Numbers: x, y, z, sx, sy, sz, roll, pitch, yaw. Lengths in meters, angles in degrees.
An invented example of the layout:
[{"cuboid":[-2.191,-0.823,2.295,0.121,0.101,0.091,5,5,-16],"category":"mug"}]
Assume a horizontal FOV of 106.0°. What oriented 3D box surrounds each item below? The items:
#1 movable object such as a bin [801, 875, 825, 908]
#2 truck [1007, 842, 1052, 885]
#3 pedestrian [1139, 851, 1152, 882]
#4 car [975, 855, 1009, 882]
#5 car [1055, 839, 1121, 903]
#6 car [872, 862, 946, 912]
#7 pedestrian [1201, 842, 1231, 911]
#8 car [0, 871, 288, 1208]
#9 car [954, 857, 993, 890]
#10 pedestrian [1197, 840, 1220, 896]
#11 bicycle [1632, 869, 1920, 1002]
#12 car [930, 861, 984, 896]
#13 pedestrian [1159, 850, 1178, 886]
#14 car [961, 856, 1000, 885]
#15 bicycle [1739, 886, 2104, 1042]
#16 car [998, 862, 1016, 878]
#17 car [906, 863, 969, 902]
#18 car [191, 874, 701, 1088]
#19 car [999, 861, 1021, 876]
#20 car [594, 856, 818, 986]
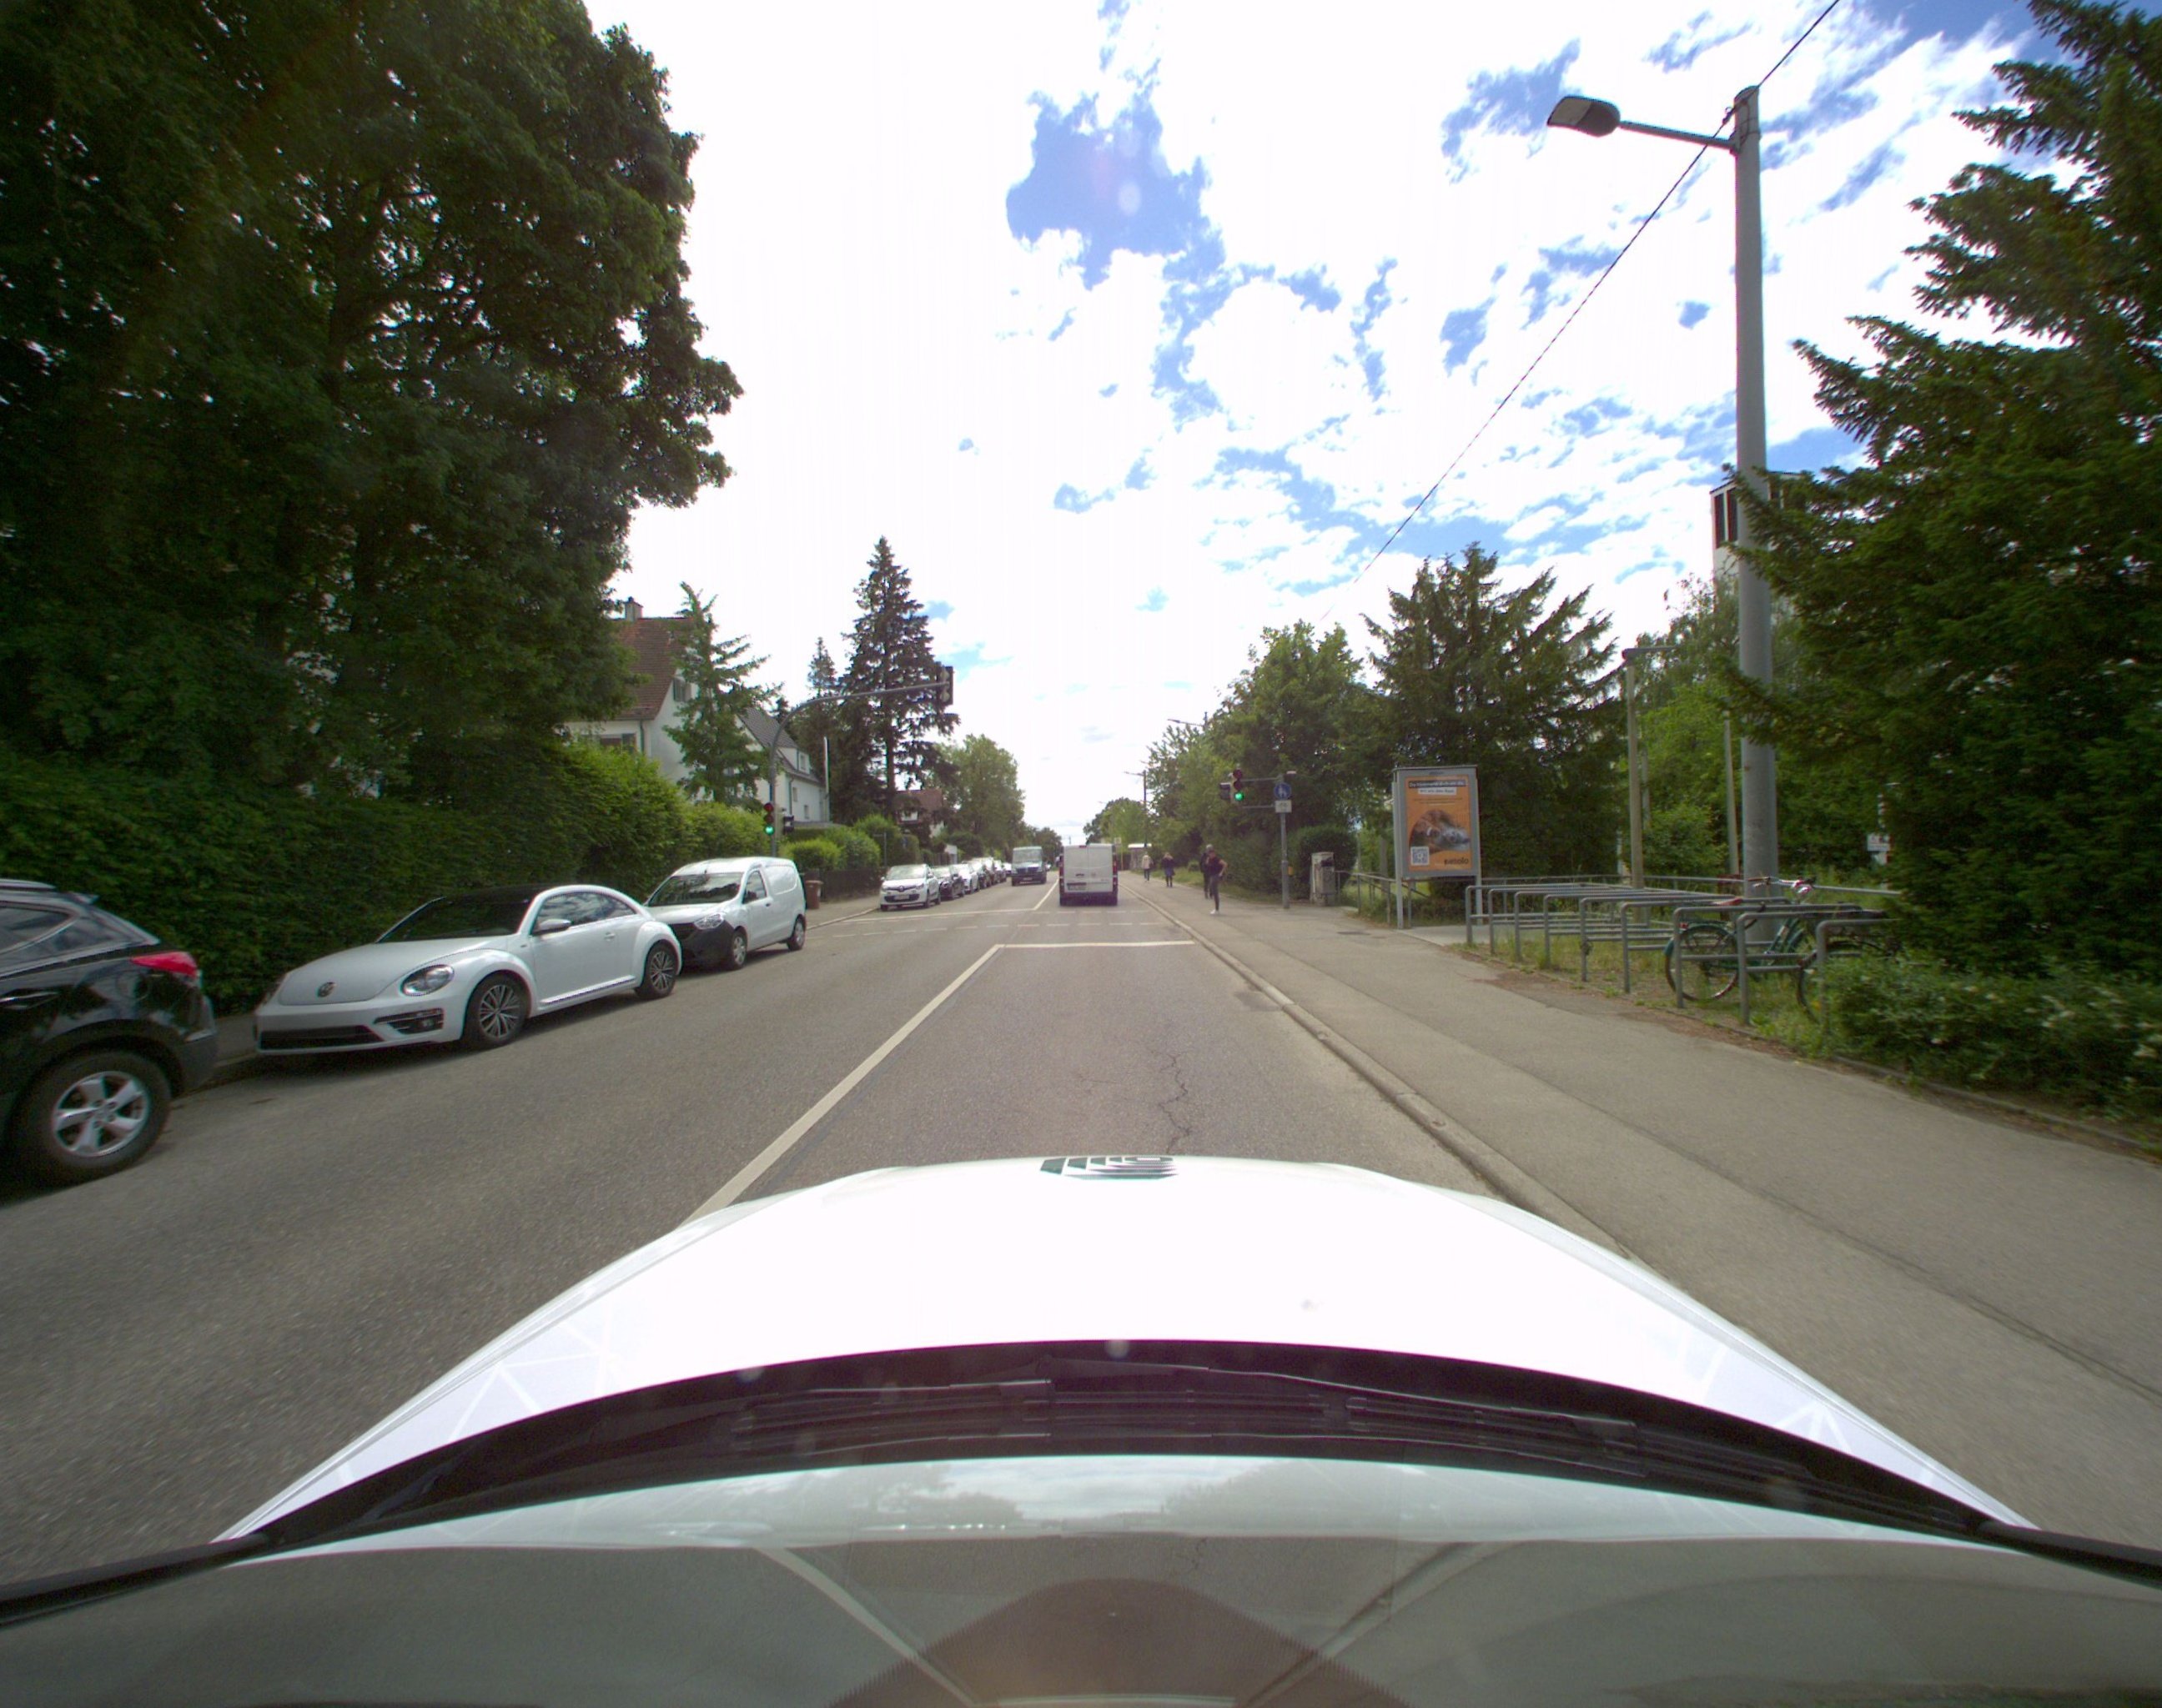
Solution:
[{"cuboid":[-8.975,1.247,27.307,0.514,1.080,0.749,1,0,0],"category":"movable object such as a bin"},{"cuboid":[-3.117,0.540,50.619,2.181,2.371,6.904,-3,0,1],"category":"truck"},{"cuboid":[3.546,0.683,45.016,0.683,1.659,0.690,0,-1,3],"category":"pedestrian"},{"cuboid":[-6.436,1.046,59.194,1.979,1.819,4.705,-2,0,-1],"category":"car"},{"cuboid":[0.154,0.557,27.443,2.029,1.945,4.990,0,-1,-2],"category":"car"},{"cuboid":[-6.073,1.121,29.179,1.696,1.543,3.743,-3,0,1],"category":"car"},{"cuboid":[3.328,0.547,20.105,0.644,1.664,0.709,0,-1,4],"category":"pedestrian"},{"cuboid":[-6.157,0.938,3.016,1.891,1.593,4.641,-2,0,-1],"category":"car"},{"cuboid":[-6.158,1.099,47.088,1.622,1.678,4.581,-4,0,-1],"category":"car"},{"cuboid":[4.343,0.478,27.783,0.741,1.883,0.802,0,-1,6],"category":"pedestrian"},{"cuboid":[6.313,0.724,7.459,2.080,1.081,0.547,-2,-1,2],"category":"bicycle"},{"cuboid":[-6.100,1.162,40.626,1.799,1.459,5.069,-3,0,1],"category":"car"},{"cuboid":[4.084,0.655,38.155,0.836,1.659,0.767,0,-1,3],"category":"pedestrian"},{"cuboid":[-6.496,1.047,53.107,2.062,1.754,4.879,0,-1,-2],"category":"car"},{"cuboid":[6.174,0.788,6.052,2.080,1.047,0.559,1,-1,2],"category":"bicycle"},{"cuboid":[-7.289,1.509,79.988,1.649,1.427,3.897,-3,0,-6],"category":"car"},{"cuboid":[-6.046,1.175,34.715,1.736,1.410,4.324,-3,0,1],"category":"car"},{"cuboid":[-6.068,1.068,8.638,1.697,1.453,4.361,-5,0,4],"category":"car"},{"cuboid":[-7.400,1.531,84.902,1.861,1.459,4.487,-2,-1,-1],"category":"car"},{"cuboid":[-6.145,0.969,14.044,1.671,1.758,4.606,-3,0,-1],"category":"car"}]
